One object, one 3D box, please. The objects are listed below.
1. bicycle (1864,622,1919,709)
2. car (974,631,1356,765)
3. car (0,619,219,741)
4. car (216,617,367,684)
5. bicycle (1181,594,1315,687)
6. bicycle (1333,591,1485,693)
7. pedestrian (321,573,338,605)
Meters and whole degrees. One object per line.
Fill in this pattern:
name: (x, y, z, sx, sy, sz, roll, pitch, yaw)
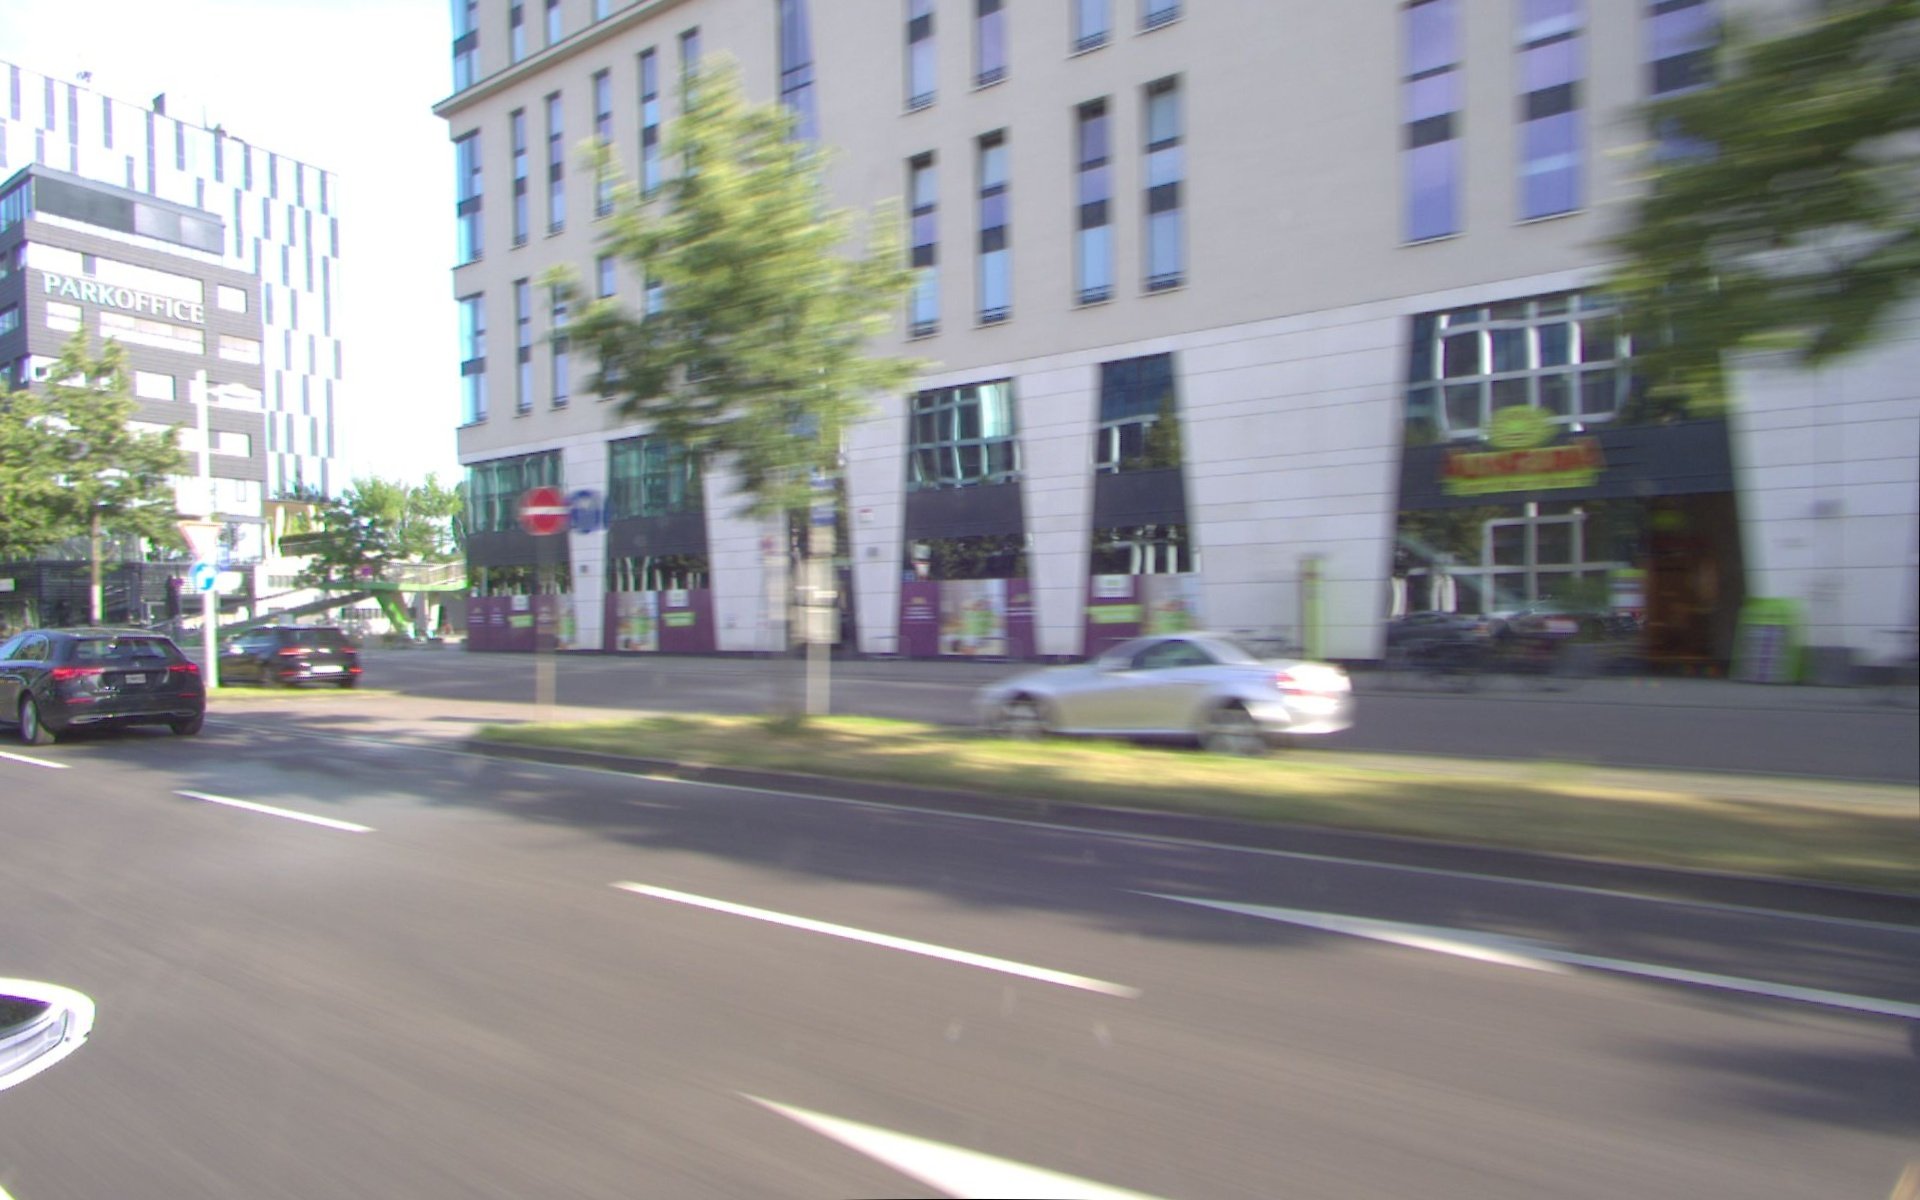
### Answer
bicycle: (12.909, 0.842, 12.834, 1.878, 1.098, 0.632, -1, 1, 33)
car: (2.229, 0.989, 11.185, 3.849, 1.258, 1.706, -1, -2, 32)
car: (-12.007, 1.021, 13.695, 3.905, 1.442, 1.771, -1, -2, 33)
car: (-15.114, 1.108, 22.562, 4.105, 1.388, 1.601, -2, -2, 37)
bicycle: (5.144, 0.729, 17.973, 2.245, 1.590, 0.554, -2, -2, 33)
bicycle: (7.296, 0.689, 16.330, 2.182, 1.587, 0.554, -2, -2, 33)
pedestrian: (-35.799, -0.617, 56.857, 0.689, 1.713, 0.779, 1, -2, -45)
